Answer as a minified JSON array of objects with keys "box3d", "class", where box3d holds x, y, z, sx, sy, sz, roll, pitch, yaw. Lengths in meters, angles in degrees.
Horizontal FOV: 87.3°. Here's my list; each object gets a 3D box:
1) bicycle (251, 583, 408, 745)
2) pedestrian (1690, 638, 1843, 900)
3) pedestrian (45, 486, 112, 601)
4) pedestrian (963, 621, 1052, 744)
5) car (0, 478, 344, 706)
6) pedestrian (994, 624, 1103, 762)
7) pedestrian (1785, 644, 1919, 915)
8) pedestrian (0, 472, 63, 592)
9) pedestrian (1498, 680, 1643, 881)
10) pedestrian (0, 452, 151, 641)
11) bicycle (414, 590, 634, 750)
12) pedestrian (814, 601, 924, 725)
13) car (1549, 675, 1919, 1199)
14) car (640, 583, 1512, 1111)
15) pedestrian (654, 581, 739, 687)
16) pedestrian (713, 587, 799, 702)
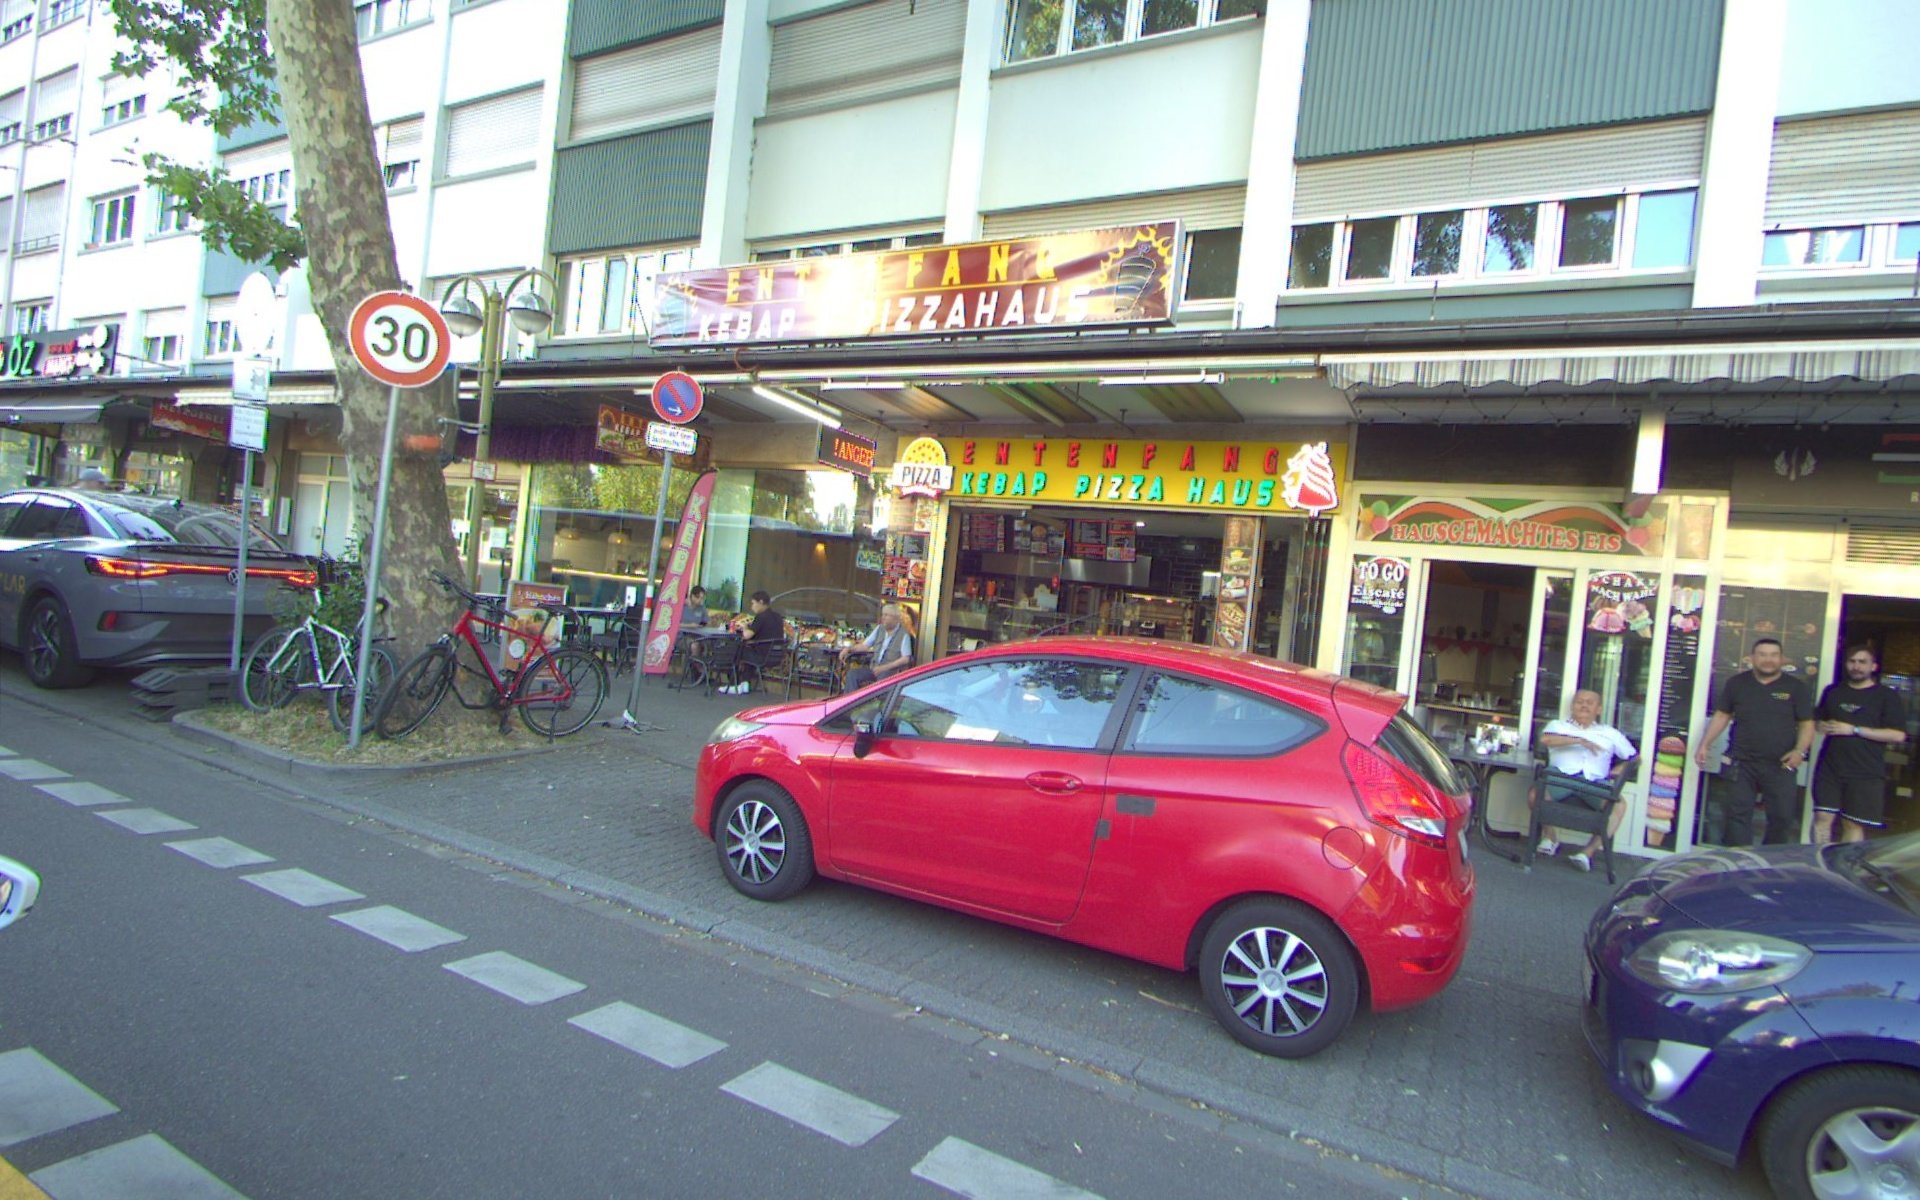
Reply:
[{"box3d":[-4.445,0.428,7.082,1.110,0.941,0.295,9,6,21],"class":"bicycle"},{"box3d":[5.854,1.187,7.344,0.587,1.759,0.588,8,3,30],"class":"pedestrian"},{"box3d":[-16.530,-1.056,18.865,0.684,2.038,0.613,7,1,29],"class":"pedestrian"},{"box3d":[0.491,0.829,10.384,0.585,1.172,0.671,6,3,31],"class":"pedestrian"},{"box3d":[-7.842,-0.201,9.215,4.223,1.619,1.742,7,2,27],"class":"car"},{"box3d":[0.831,0.842,9.414,0.740,1.172,0.593,6,3,33],"class":"pedestrian"},{"box3d":[6.526,1.245,7.269,0.637,1.783,0.609,8,4,36],"class":"pedestrian"},{"box3d":[-16.898,-1.223,18.190,0.684,2.038,0.692,7,1,30],"class":"pedestrian"},{"box3d":[4.636,1.299,7.625,0.767,1.249,1.202,6,3,33],"class":"pedestrian"},{"box3d":[-9.911,-0.572,11.082,1.007,1.913,1.121,6,0,27],"class":"pedestrian"},{"box3d":[-3.234,0.507,7.560,0.291,1.082,1.455,12,7,42],"class":"bicycle"},{"box3d":[-0.980,0.666,10.869,0.861,1.237,0.688,2,3,-44],"class":"pedestrian"},{"box3d":[3.873,1.224,2.911,3.543,1.485,1.620,7,2,29],"class":"car"},{"box3d":[0.476,0.848,4.996,3.780,1.448,1.668,7,2,27],"class":"car"},{"box3d":[-3.237,0.411,12.364,0.694,1.220,0.675,7,3,42],"class":"pedestrian"},{"box3d":[-2.392,0.513,11.801,0.701,1.260,0.614,7,3,41],"class":"pedestrian"}]
